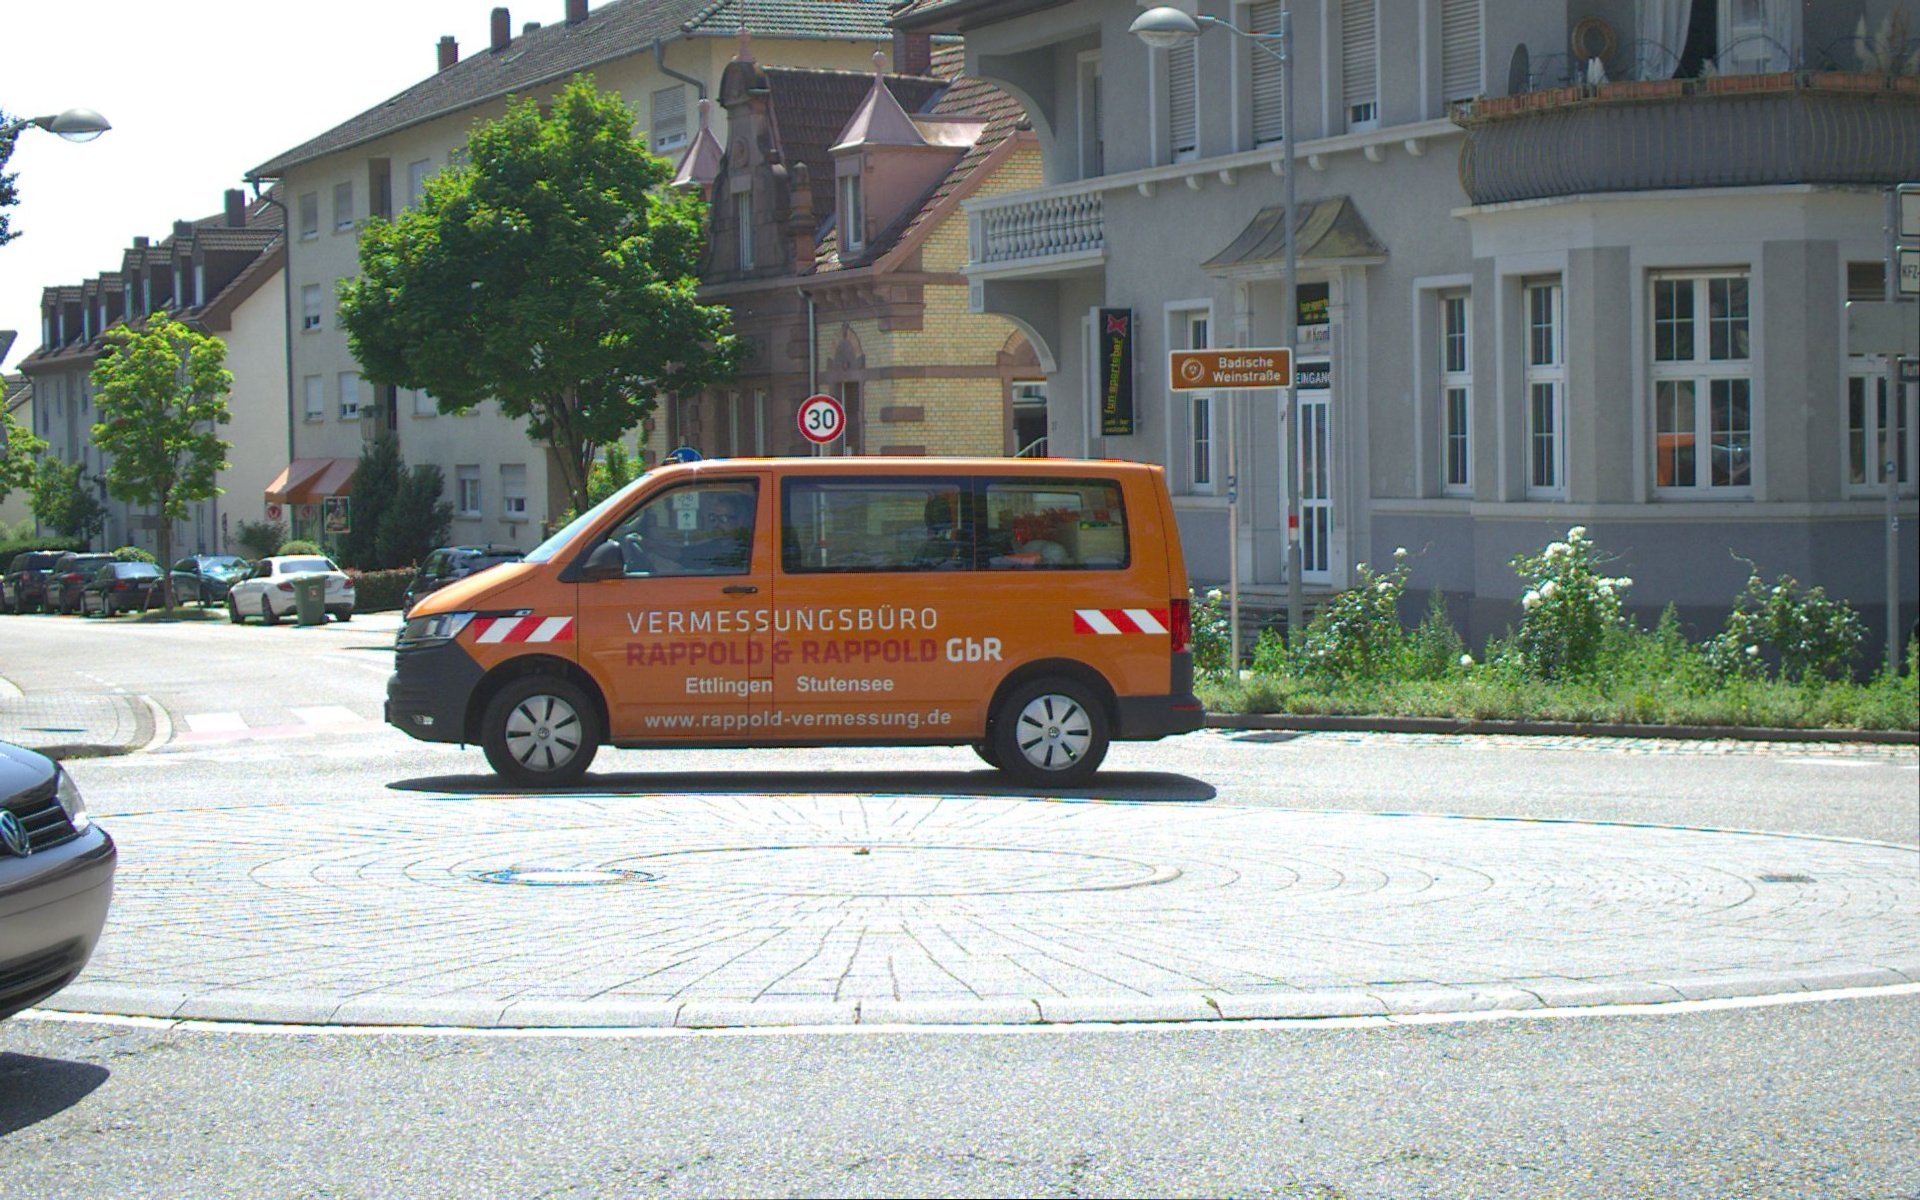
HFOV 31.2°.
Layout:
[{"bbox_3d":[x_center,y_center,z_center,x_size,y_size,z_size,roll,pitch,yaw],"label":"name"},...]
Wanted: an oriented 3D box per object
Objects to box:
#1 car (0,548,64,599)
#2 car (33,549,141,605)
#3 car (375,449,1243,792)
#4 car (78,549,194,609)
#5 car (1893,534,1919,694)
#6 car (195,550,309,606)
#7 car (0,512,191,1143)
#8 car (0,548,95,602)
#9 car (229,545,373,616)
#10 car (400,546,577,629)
[{"bbox_3d":[-28.488,-0.813,103.683,1.993,1.504,4.420,-1,1,-26],"label":"car"},{"bbox_3d":[-24.064,-0.658,94.643,1.993,1.504,4.420,-1,1,-26],"label":"car"},{"bbox_3d":[-0.940,0.075,20.803,5.003,1.952,1.951,0,2,-6],"label":"car"},{"bbox_3d":[-21.403,-0.563,89.213,1.993,1.504,4.420,-1,1,-26],"label":"car"},{"bbox_3d":[10.278,0.140,30.434,1.718,1.455,3.793,-1,1,-30],"label":"car"},{"bbox_3d":[-19.409,-0.622,94.157,1.993,1.504,4.420,-1,1,-26],"label":"car"},{"bbox_3d":[-4.192,0.566,8.580,4.046,1.442,1.716,-1,2,11],"label":"car"},{"bbox_3d":[-26.496,-0.742,99.441,1.993,1.504,4.420,-1,1,-26],"label":"car"},{"bbox_3d":[-14.528,-0.448,75.634,1.993,1.504,4.420,-1,1,-26],"label":"car"},{"bbox_3d":[-8.913,-0.270,64.712,1.993,1.504,4.420,-1,1,-26],"label":"car"}]
